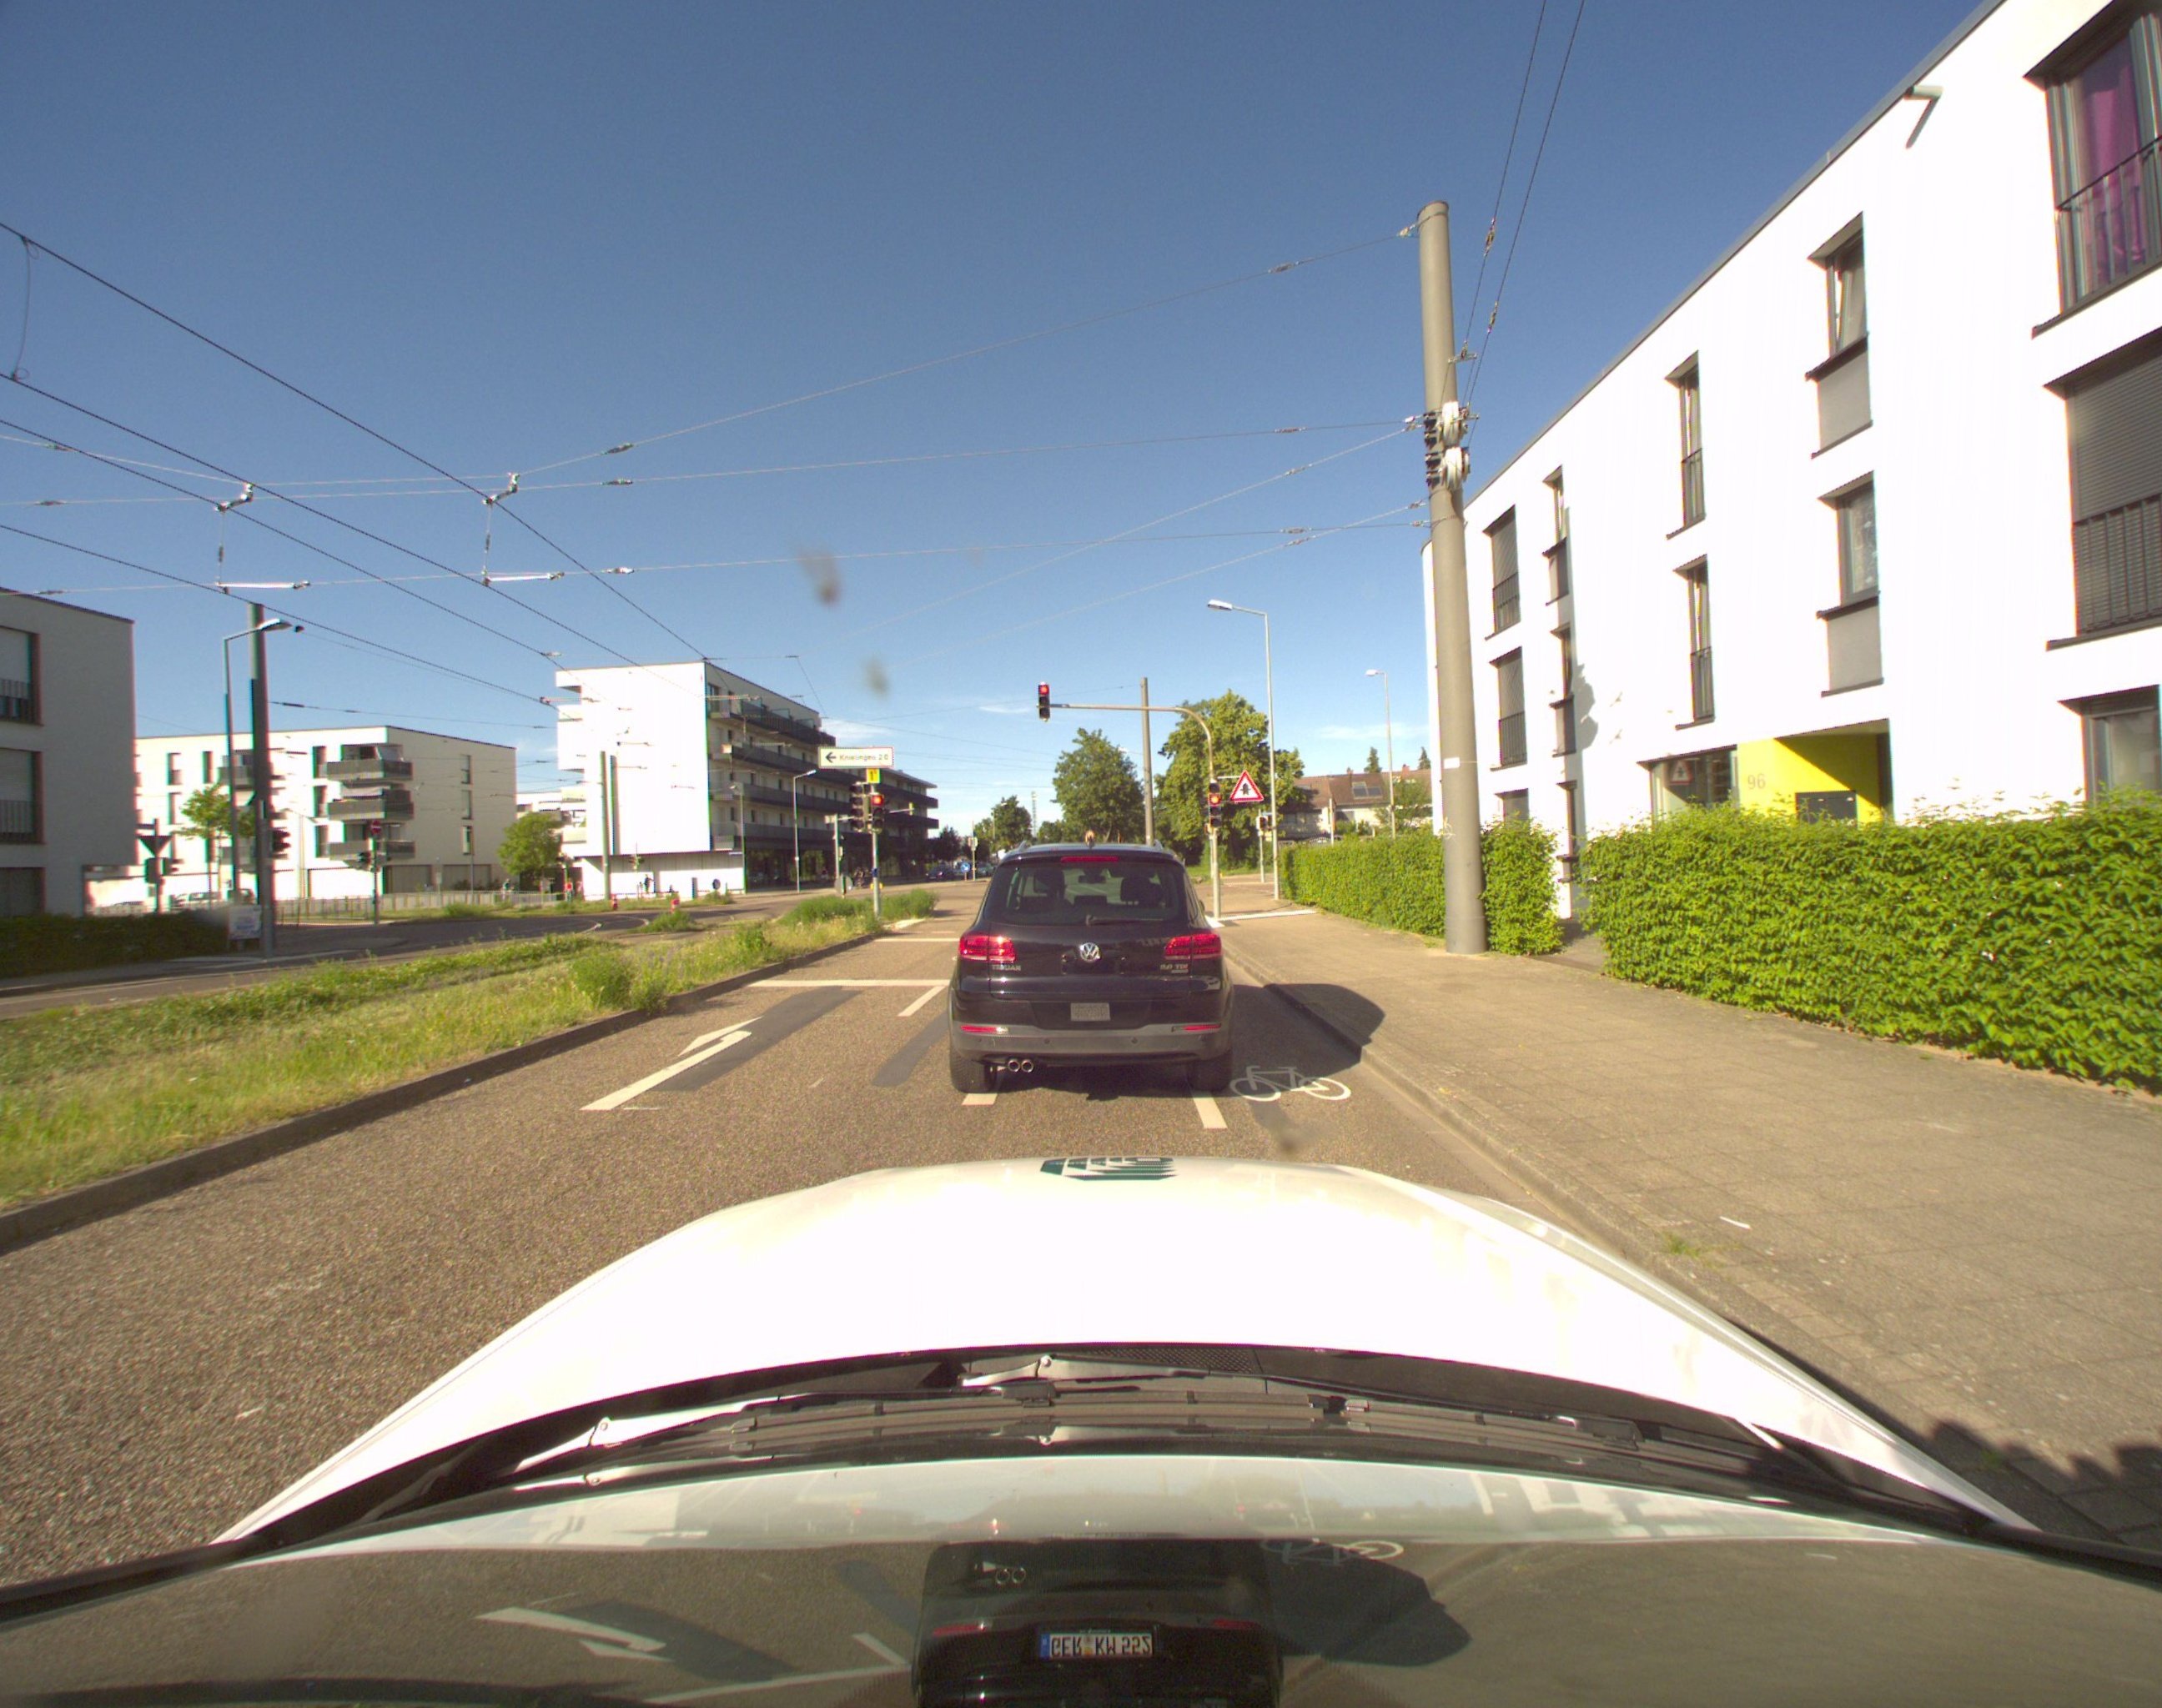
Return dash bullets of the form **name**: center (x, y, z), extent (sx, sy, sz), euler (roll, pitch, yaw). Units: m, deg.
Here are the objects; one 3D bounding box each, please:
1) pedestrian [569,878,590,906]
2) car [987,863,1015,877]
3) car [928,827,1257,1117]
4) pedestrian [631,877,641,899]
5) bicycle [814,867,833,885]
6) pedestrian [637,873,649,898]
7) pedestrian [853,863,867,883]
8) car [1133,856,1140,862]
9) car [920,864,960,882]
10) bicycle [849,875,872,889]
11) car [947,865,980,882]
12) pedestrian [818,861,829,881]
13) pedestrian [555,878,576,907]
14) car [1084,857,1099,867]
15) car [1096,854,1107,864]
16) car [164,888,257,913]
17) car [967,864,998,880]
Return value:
- **pedestrian**: center (-28.879, 2.191, 46.924), extent (0.770, 1.605, 0.741), euler (0, -1, -5)
- **car**: center (-8.909, 1.769, 91.287), extent (1.981, 1.574, 4.350), euler (-1, -1, 9)
- **car**: center (0.124, 0.688, 6.635), extent (1.862, 1.637, 4.001), euler (0, -1, 2)
- **pedestrian**: center (-31.007, 2.376, 56.738), extent (0.440, 1.503, 0.517), euler (0, -1, -4)
- **bicycle**: center (-20.130, 1.695, 63.634), extent (0.626, 1.332, 1.917), euler (-1, -1, 9)
- **pedestrian**: center (-30.863, 2.243, 57.385), extent (0.542, 1.744, 0.517), euler (0, -1, -4)
- **pedestrian**: center (-16.684, 1.426, 61.503), extent (0.707, 1.474, 0.956), euler (-1, -1, 9)
- **car**: center (16.755, 1.477, 245.124), extent (1.987, 1.684, 4.000), euler (0, -1, 0)
- **car**: center (-12.426, 1.663, 71.911), extent (1.980, 1.574, 4.353), euler (-1, -1, 11)
- **bicycle**: center (-16.651, 2.092, 61.626), extent (0.766, 0.989, 2.438), euler (-1, -1, 9)
- **car**: center (-11.312, 1.824, 78.656), extent (1.981, 1.574, 4.350), euler (-1, -1, 9)
- **pedestrian**: center (-20.127, 1.339, 63.594), extent (0.639, 1.509, 0.597), euler (-1, -1, 8)
- **pedestrian**: center (-29.670, 2.197, 46.855), extent (0.770, 1.605, 0.741), euler (0, -1, -5)
- **car**: center (1.693, 1.299, 131.616), extent (1.852, 1.485, 4.121), euler (-3, 0, 9)
- **car**: center (3.819, 0.917, 152.208), extent (1.855, 1.720, 3.690), euler (-2, 0, 4)
- **car**: center (-58.957, 3.155, 55.215), extent (4.305, 1.574, 2.002), euler (0, -1, 4)
- **car**: center (-10.219, 1.835, 84.757), extent (1.981, 1.574, 4.350), euler (-1, -1, 9)
